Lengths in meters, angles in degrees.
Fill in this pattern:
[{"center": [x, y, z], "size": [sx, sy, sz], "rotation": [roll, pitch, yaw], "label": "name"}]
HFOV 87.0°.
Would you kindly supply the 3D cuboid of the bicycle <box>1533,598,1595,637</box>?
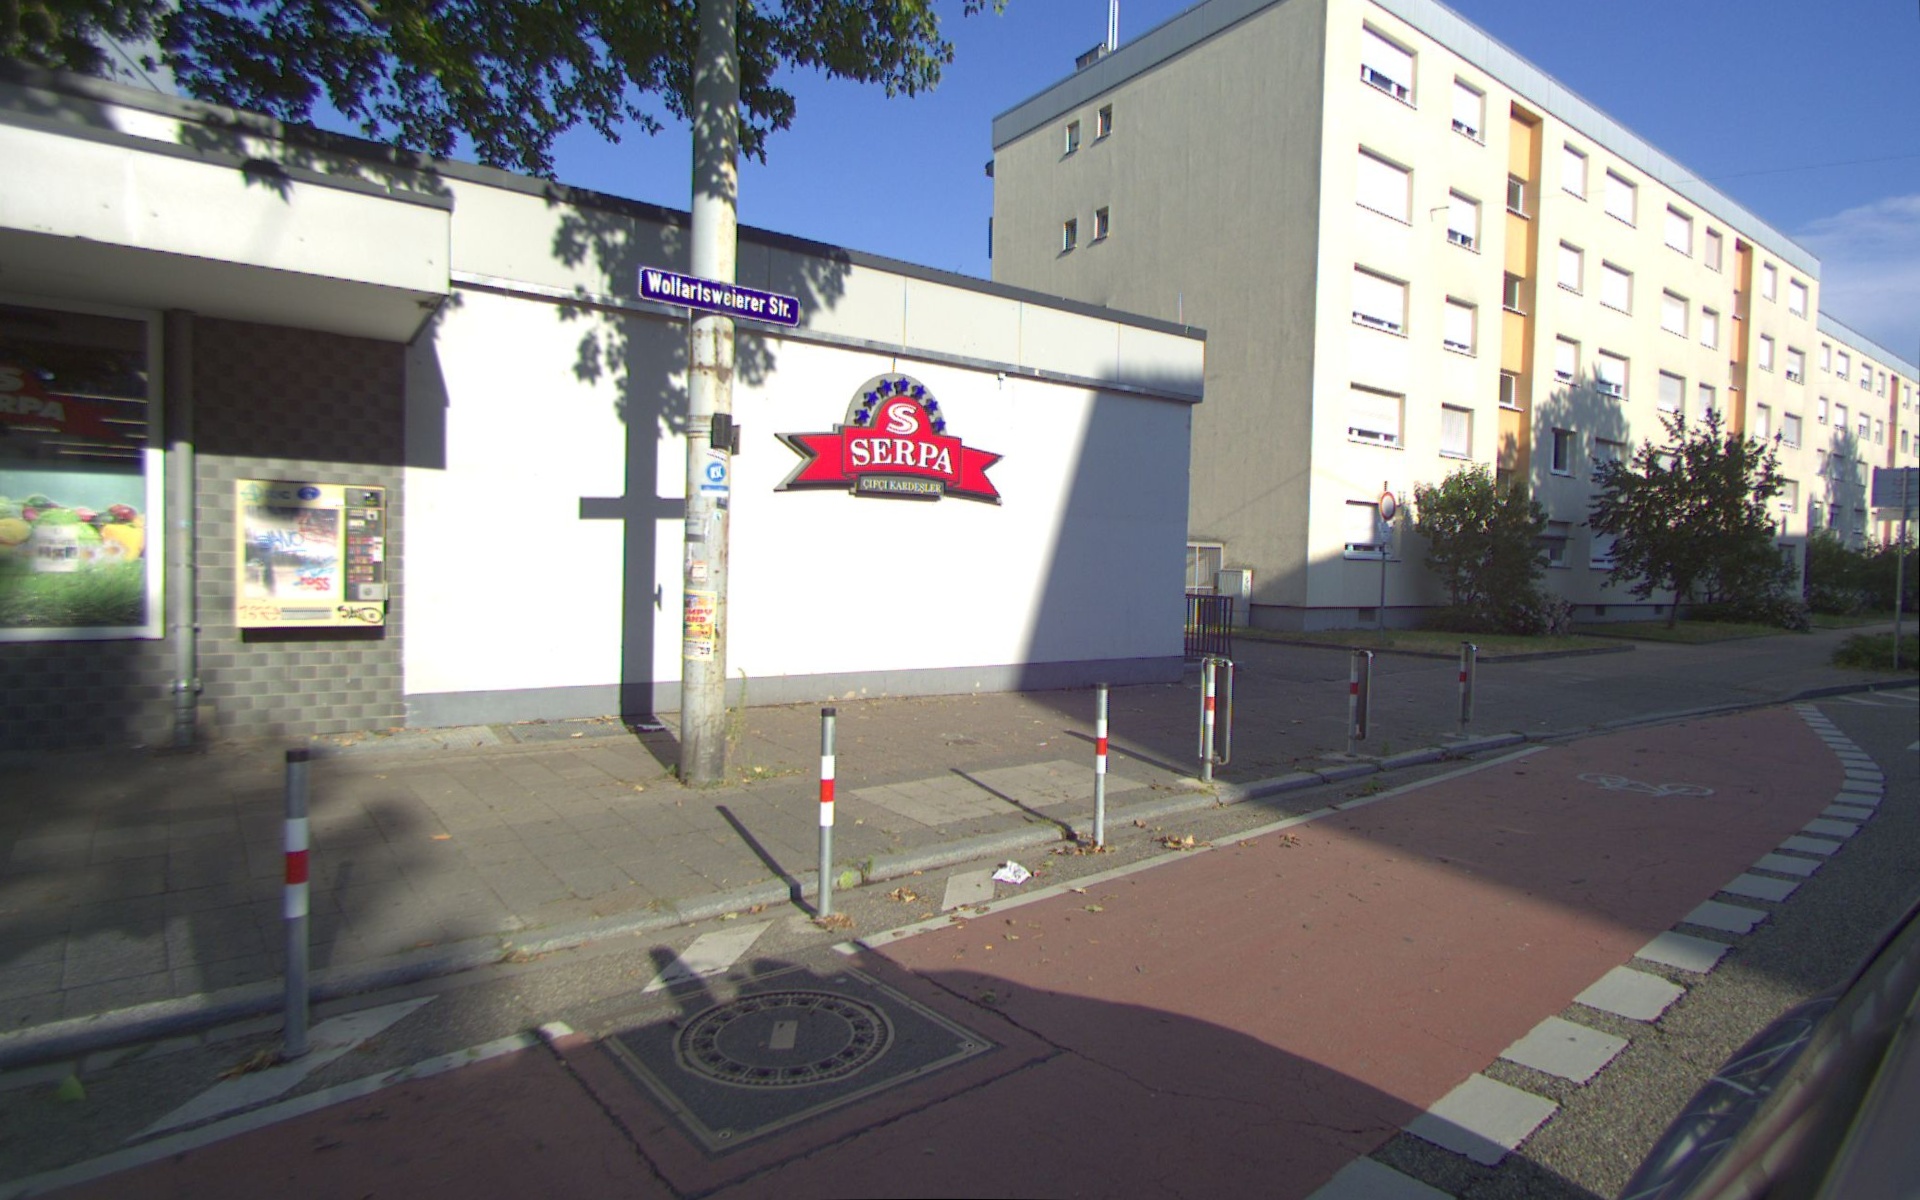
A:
[{"center": [15.046, 0.434, 25.185], "size": [2.190, 0.937, 0.637], "rotation": [1, -1, -40], "label": "bicycle"}]
